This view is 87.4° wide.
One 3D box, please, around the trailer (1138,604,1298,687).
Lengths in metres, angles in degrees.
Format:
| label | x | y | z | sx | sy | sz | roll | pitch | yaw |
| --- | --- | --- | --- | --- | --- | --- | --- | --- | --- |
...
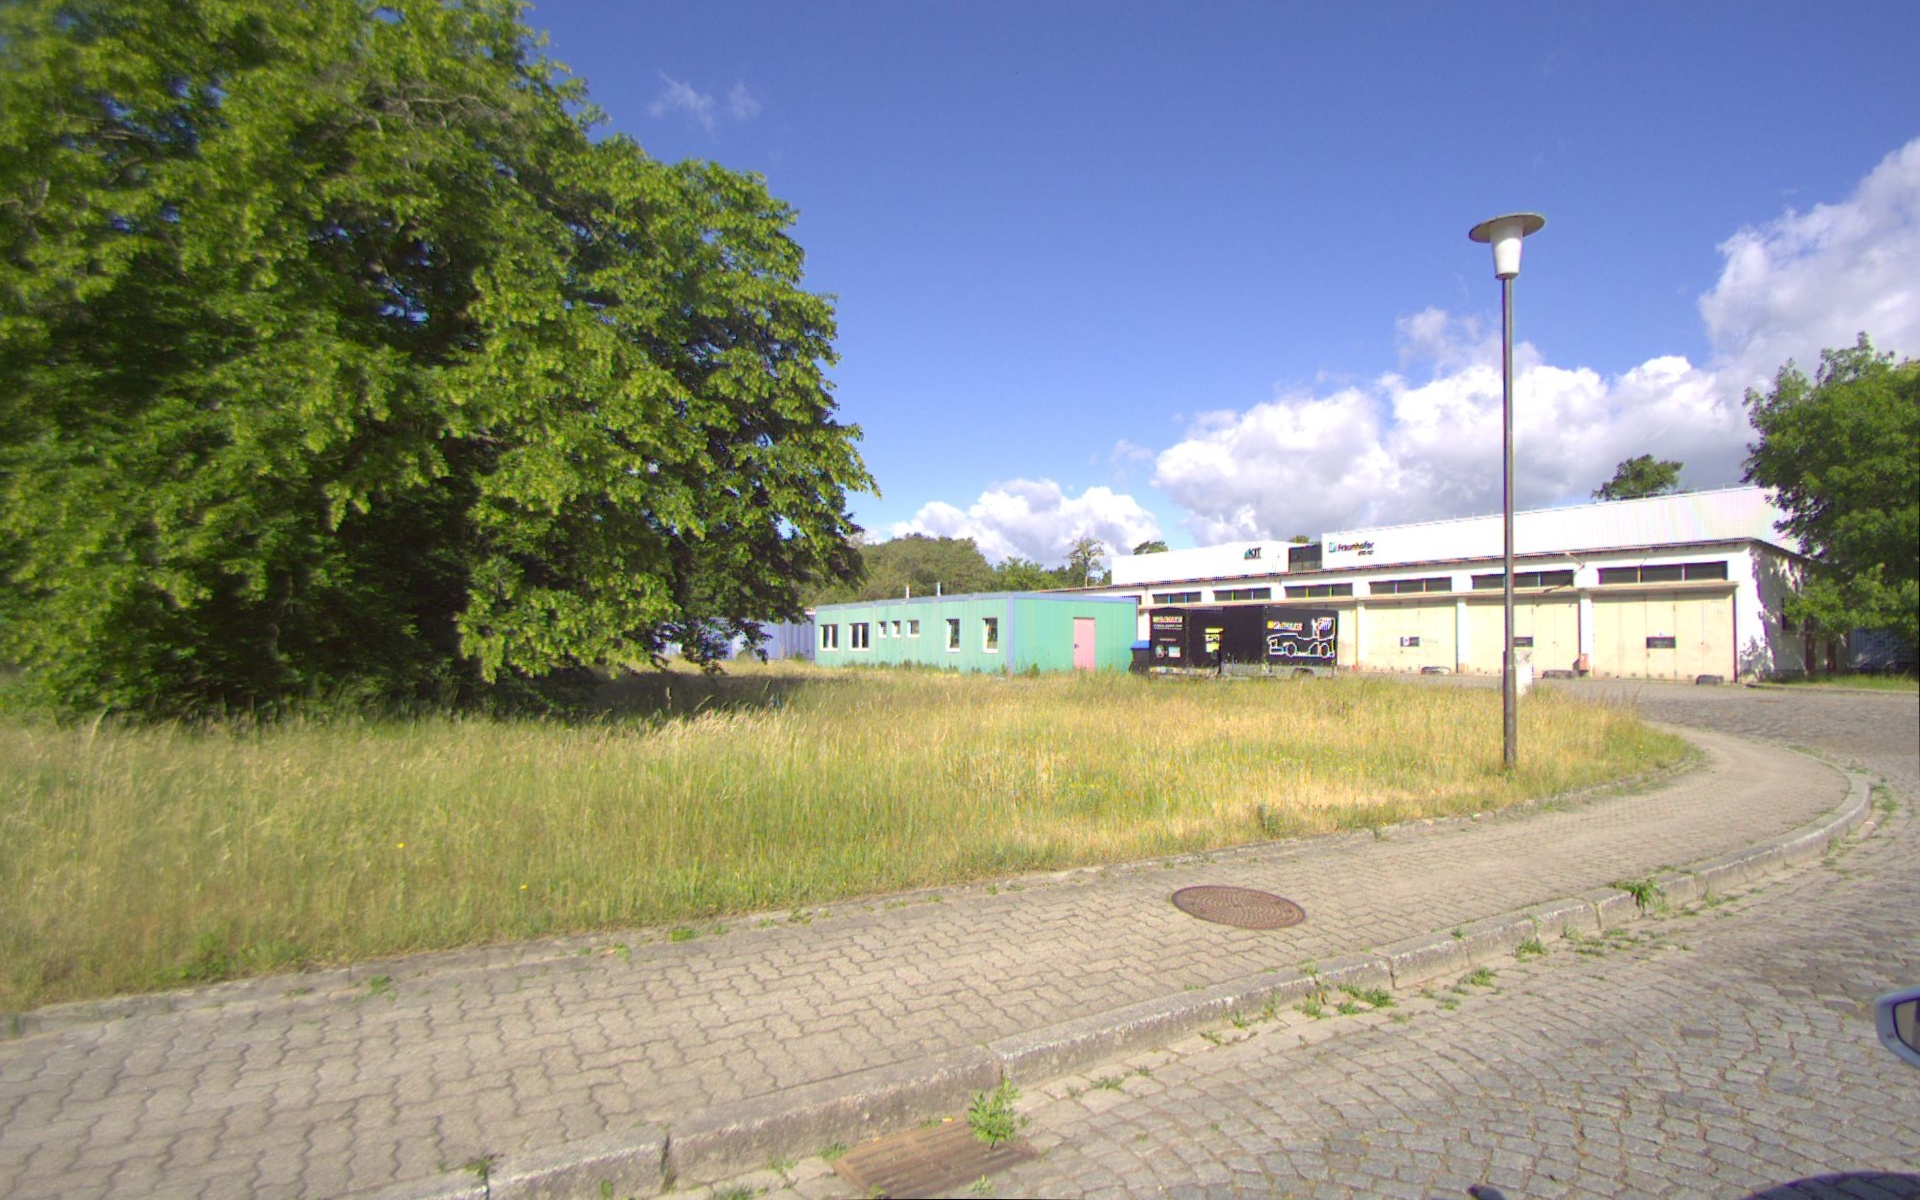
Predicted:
| label | x | y | z | sx | sy | sz | roll | pitch | yaw |
| --- | --- | --- | --- | --- | --- | --- | --- | --- | --- |
| trailer | 7.971 | 1.419 | 30.894 | 4.925 | 2.385 | 2.076 | 2 | -3 | -34 |

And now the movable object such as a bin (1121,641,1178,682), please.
| label | x | y | z | sx | sy | sz | roll | pitch | yaw |
| --- | --- | --- | --- | --- | --- | --- | --- | --- | --- |
| movable object such as a bin | 6.773 | 2.189 | 35.945 | 1.376 | 1.404 | 1.517 | 3 | -3 | -42 |

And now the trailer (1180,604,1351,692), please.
| label | x | y | z | sx | sy | sz | roll | pitch | yaw |
| --- | --- | --- | --- | --- | --- | --- | --- | --- | --- |
| trailer | 8.730 | 1.374 | 28.655 | 4.615 | 2.328 | 2.121 | 2 | -3 | -30 |
